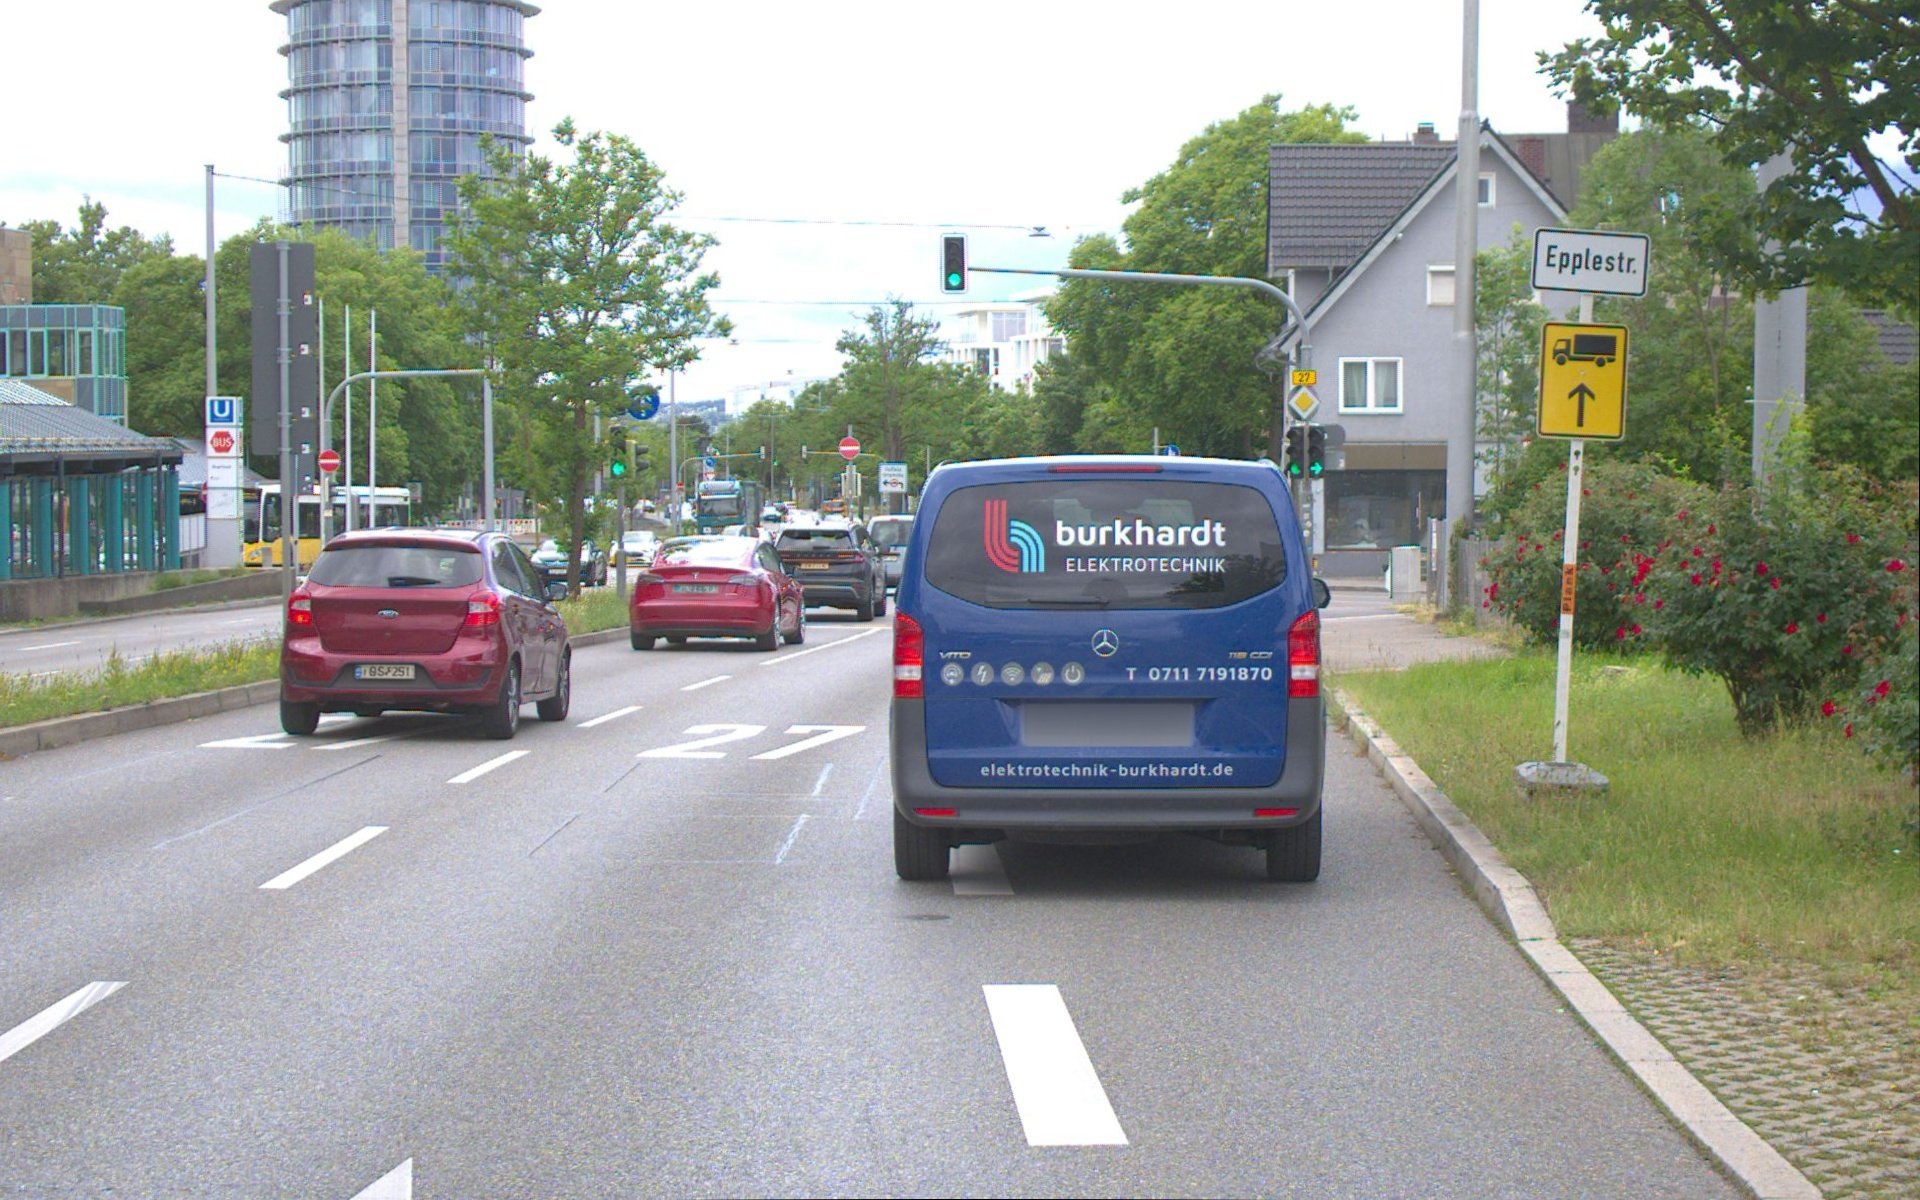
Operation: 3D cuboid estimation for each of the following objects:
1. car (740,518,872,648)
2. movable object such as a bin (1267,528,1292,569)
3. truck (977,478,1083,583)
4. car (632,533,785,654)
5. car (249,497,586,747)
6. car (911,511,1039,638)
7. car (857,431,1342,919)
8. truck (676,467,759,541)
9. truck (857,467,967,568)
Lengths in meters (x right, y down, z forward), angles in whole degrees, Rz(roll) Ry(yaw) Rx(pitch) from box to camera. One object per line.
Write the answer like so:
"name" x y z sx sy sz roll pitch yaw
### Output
"car" -2.631 -0.326 57.722 1.993 2.006 4.001 1 2 -5
"movable object such as a bin" 8.603 -1.391 92.526 0.597 1.097 0.573 0 1 -4
"truck" 1.568 -1.526 75.311 1.994 2.158 5.559 2 1 4
"car" -3.278 -0.112 44.234 1.868 1.481 4.001 0 1 -5
"car" -4.020 0.105 26.073 1.746 1.717 4.000 1 1 2
"car" 0.229 -0.397 49.060 1.746 1.717 4.000 0 1 1
"car" 0.620 0.260 16.283 1.948 1.959 4.541 1 1 1
"truck" -12.747 -5.029 181.776 3.368 3.714 11.281 1 1 1
"truck" -1.051 -1.871 78.350 1.994 2.158 5.559 2 1 4
